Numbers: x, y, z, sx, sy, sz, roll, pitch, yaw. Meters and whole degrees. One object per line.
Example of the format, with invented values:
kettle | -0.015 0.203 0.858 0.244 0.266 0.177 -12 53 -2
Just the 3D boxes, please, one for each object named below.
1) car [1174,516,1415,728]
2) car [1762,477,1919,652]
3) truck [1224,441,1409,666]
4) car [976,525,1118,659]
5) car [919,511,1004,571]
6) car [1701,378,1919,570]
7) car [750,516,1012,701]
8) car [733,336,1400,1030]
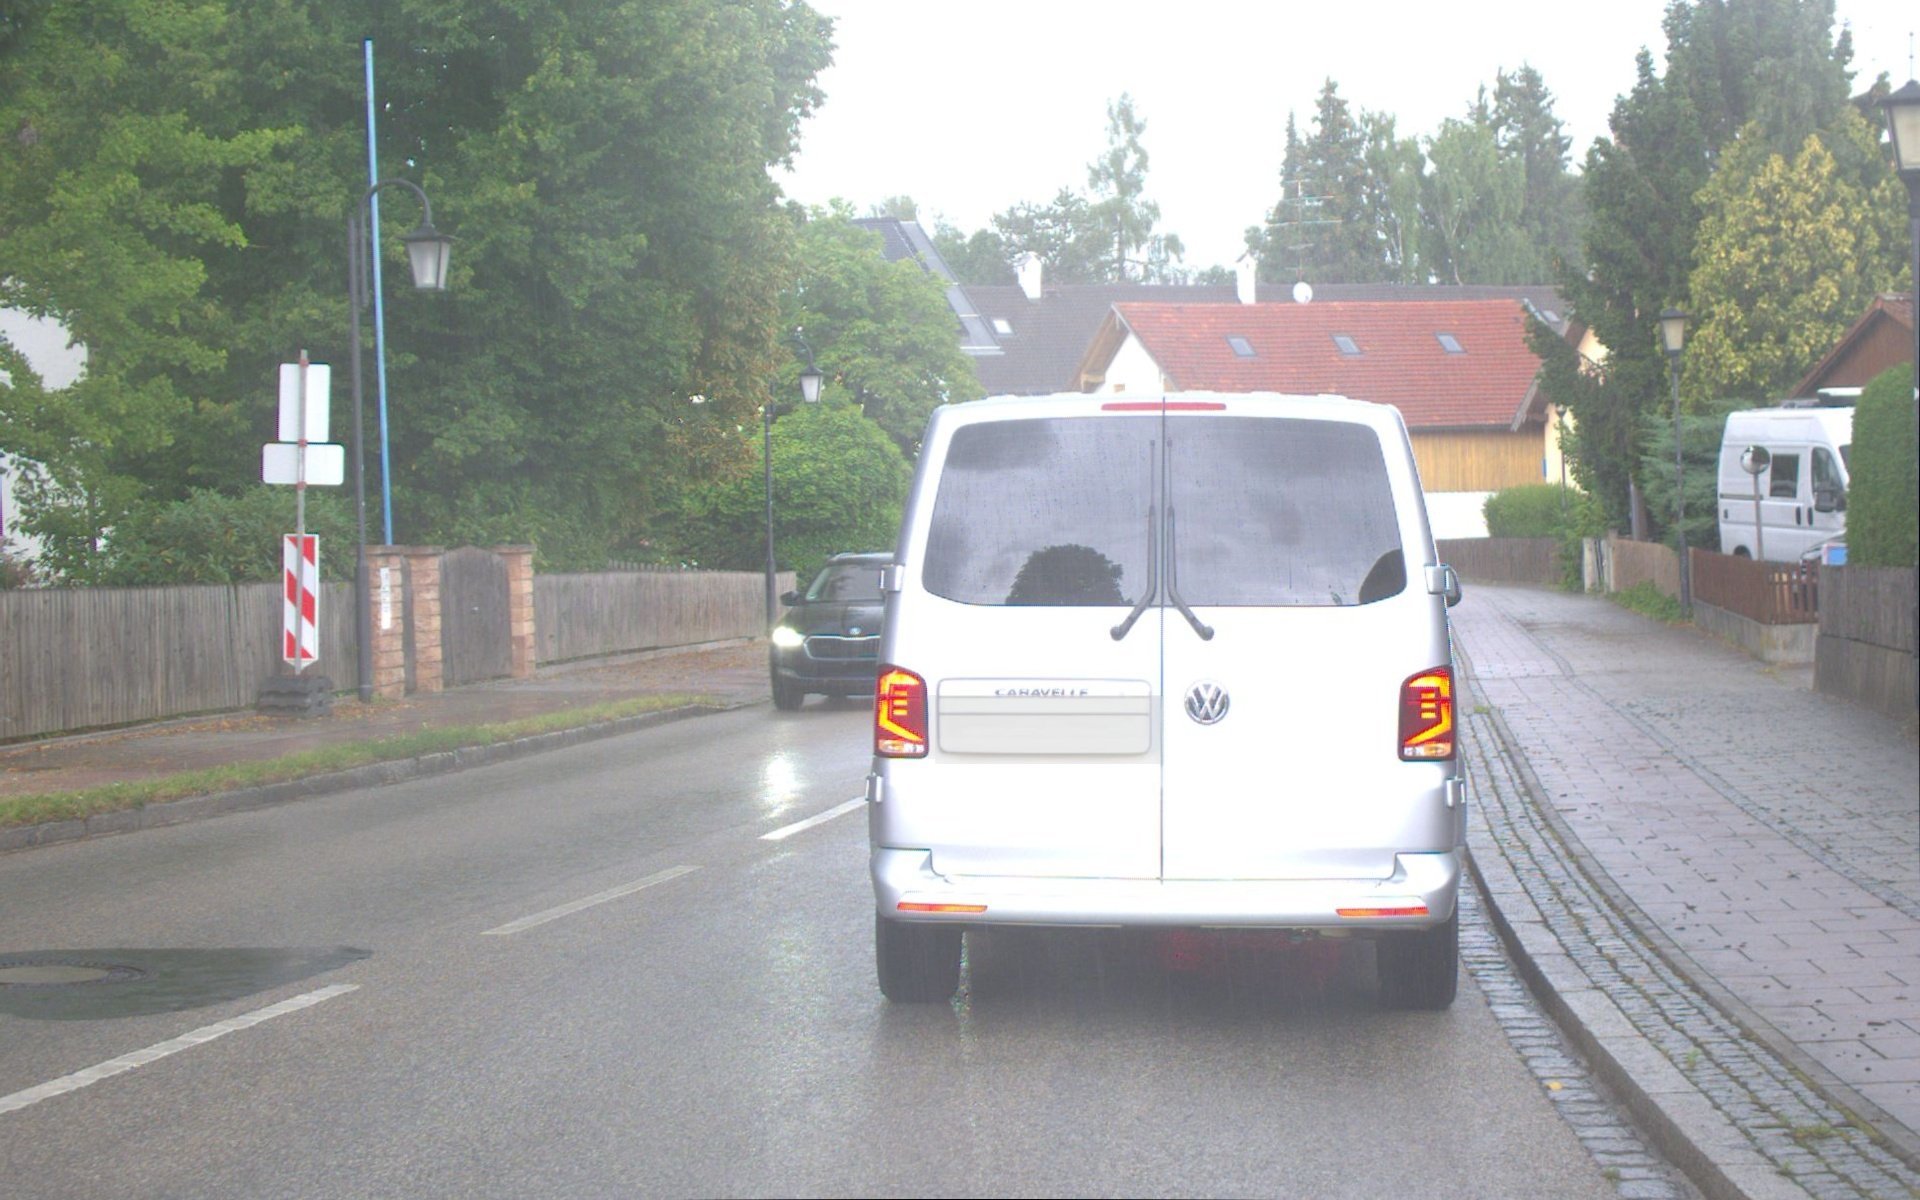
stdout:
car | 2.767 0.152 28.125 1.801 1.583 3.999 1 0 7
car | 10.741 -0.422 36.486 4.094 1.745 1.694 -1 3 4
truck | 5.239 -0.657 50.258 2.476 3.063 6.294 1 0 7
car | 1.256 -0.123 47.982 1.640 1.759 4.330 1 0 6
car | 0.032 -2.048 120.132 1.993 2.007 4.001 1 0 -14
car | 10.821 -1.468 41.920 1.993 2.166 4.954 1 0 -6
car | -0.683 0.065 33.105 1.784 1.657 4.444 0 0 9
car | 0.550 0.220 12.072 1.801 2.007 3.998 1 0 9
